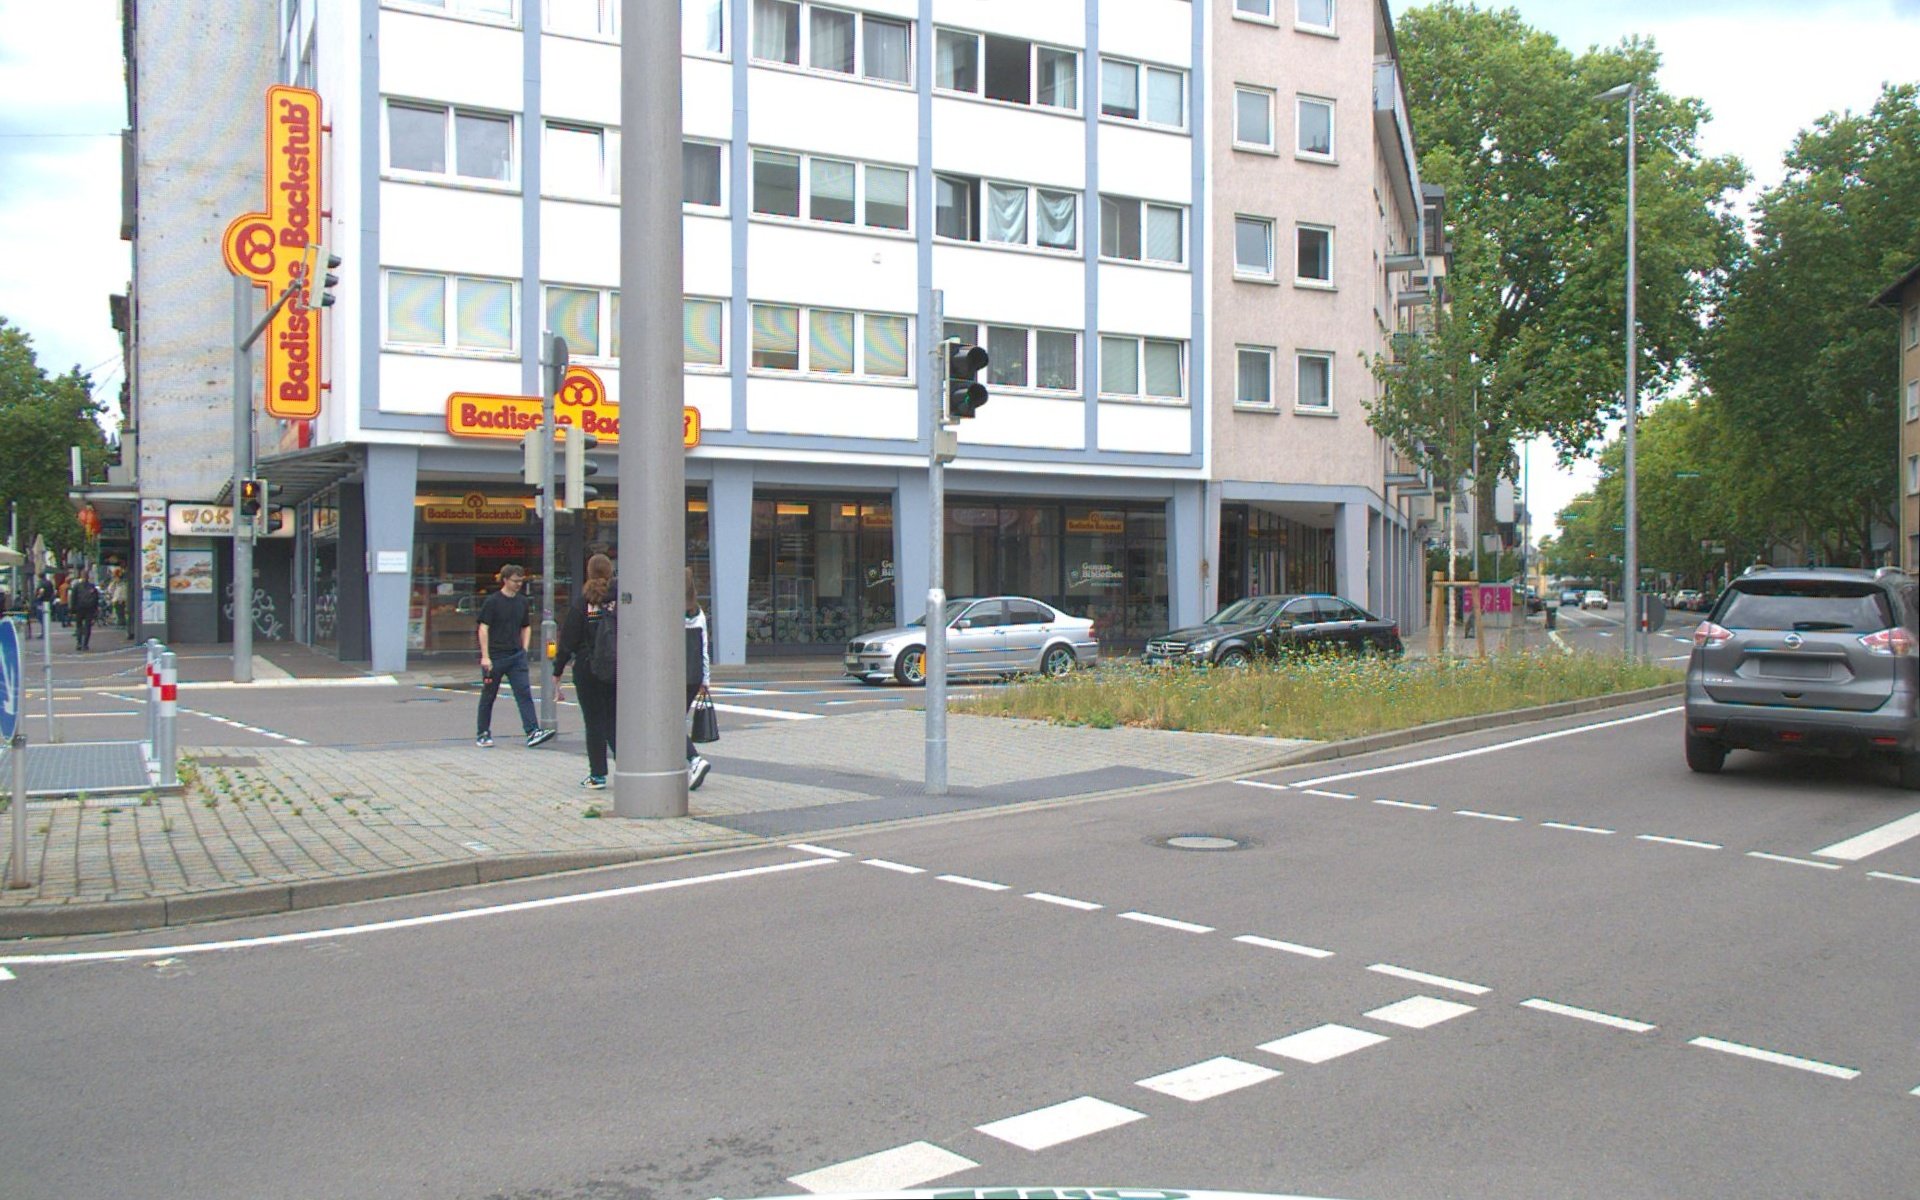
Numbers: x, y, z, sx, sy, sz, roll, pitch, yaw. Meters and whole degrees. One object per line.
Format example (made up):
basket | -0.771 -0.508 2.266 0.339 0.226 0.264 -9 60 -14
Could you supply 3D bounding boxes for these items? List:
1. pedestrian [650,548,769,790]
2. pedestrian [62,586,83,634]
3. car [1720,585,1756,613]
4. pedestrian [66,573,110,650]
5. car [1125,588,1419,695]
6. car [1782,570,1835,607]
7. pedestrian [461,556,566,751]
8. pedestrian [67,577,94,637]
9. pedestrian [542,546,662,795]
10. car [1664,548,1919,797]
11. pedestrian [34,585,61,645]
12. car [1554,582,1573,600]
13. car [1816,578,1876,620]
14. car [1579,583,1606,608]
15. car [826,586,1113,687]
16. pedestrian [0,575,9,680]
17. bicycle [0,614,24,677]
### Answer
pedestrian | -1.933 0.512 12.748 0.616 1.792 0.770 1 -1 -35
pedestrian | -32.315 0.348 60.204 0.604 1.735 0.614 1 -1 -26
car | 53.047 -0.115 112.847 1.824 1.805 3.985 1 1 20
pedestrian | -19.988 0.265 37.924 0.698 1.735 0.731 1 -1 -15
car | 4.918 0.602 25.922 4.503 1.507 1.731 -1 0 -30
car | 42.779 -0.588 83.457 1.824 1.805 3.985 1 1 20
pedestrian | -4.456 0.517 16.483 0.707 1.864 1.005 1 -1 -35
pedestrian | -27.328 0.220 51.398 0.730 1.853 0.656 0 0 -29
pedestrian | -2.696 0.511 12.430 0.616 1.792 0.770 1 -1 -35
car | 7.644 0.491 14.384 1.832 1.805 4.549 2 1 36
pedestrian | -26.597 0.436 48.208 0.635 1.735 0.554 1 -1 -26
car | 62.868 -0.994 172.281 1.824 1.805 3.985 1 1 20
car | 40.715 -0.067 76.054 1.824 1.805 3.985 1 1 20
car | 49.113 -0.361 128.435 1.824 1.805 3.985 1 1 20
car | 0.184 0.549 27.338 4.503 1.507 1.731 -1 0 -30
pedestrian | -16.562 0.460 28.006 0.726 1.776 0.655 1 -1 -35
bicycle | -16.982 0.771 28.242 1.671 1.084 0.434 1 -1 -21
